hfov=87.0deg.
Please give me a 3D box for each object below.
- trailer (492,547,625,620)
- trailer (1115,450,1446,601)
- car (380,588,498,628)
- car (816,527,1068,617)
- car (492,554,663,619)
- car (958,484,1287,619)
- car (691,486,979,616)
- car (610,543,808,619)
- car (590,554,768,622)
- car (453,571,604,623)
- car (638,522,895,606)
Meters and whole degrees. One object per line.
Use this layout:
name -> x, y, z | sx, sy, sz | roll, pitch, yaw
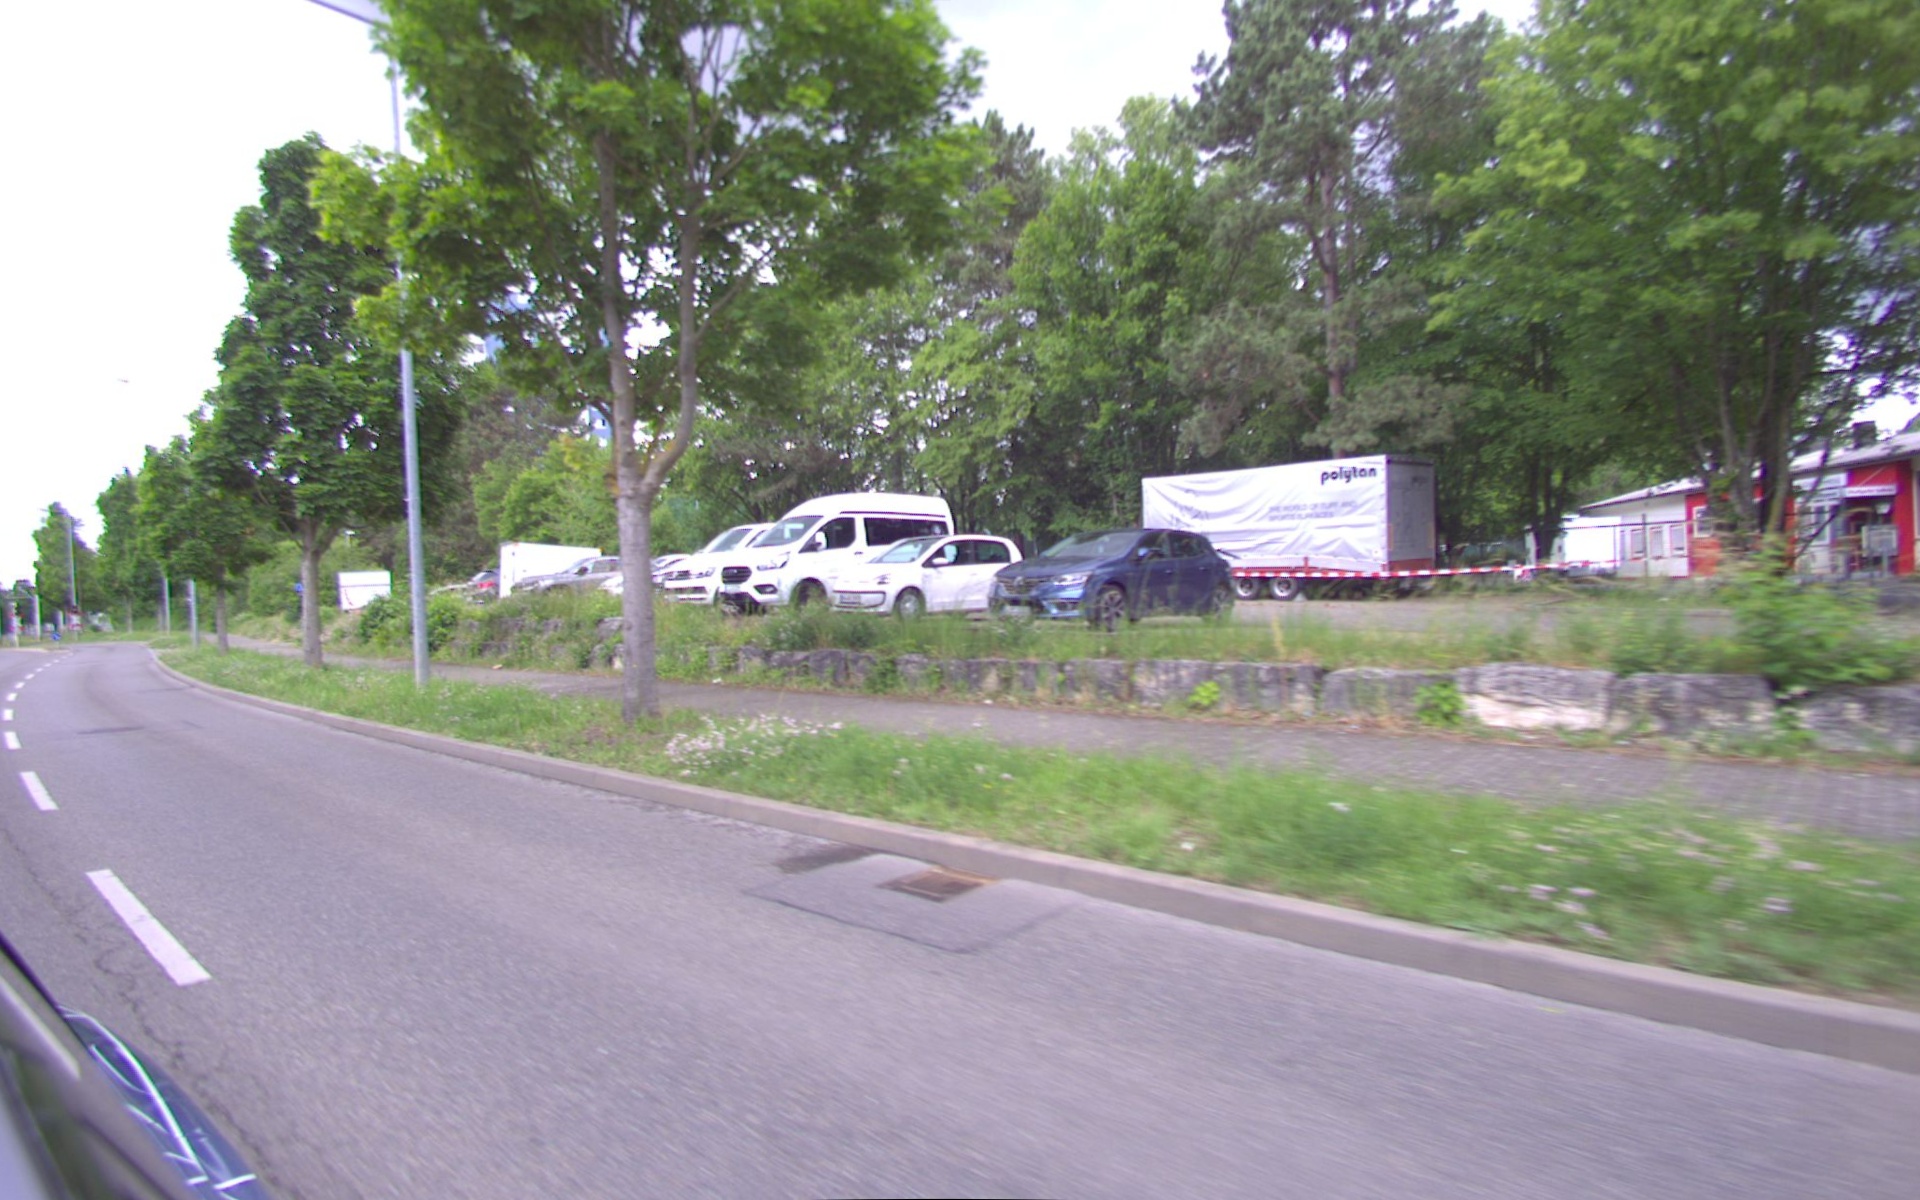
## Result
trailer -> -12.060, -0.505, 30.443 | 3.323, 2.073, 1.681 | -2, 0, -39
trailer -> 7.436, -1.600, 24.359 | 2.617, 3.097, 7.203 | -4, 2, -43
car -> -21.707, 0.320, 42.234 | 3.984, 1.428, 2.003 | -4, 1, -40
car -> -0.187, -0.509, 17.152 | 4.327, 1.326, 1.564 | -4, 1, -44
car -> -10.662, -0.388, 28.329 | 3.984, 1.596, 2.004 | -4, 1, -39
car -> 2.494, -0.675, 14.449 | 5.096, 1.573, 1.887 | -4, 1, -44
car -> -2.269, -0.925, 19.430 | 5.096, 2.122, 2.216 | -4, 1, -44
car -> -5.835, -0.460, 23.726 | 3.984, 1.559, 2.004 | -4, 1, -39
car -> -7.190, -0.326, 26.087 | 3.984, 1.523, 1.784 | -4, 1, -39
car -> -13.765, -0.111, 32.343 | 3.984, 1.428, 2.004 | -4, 1, -39
car -> -4.049, -0.801, 21.664 | 4.931, 1.559, 2.101 | -4, 1, -39
